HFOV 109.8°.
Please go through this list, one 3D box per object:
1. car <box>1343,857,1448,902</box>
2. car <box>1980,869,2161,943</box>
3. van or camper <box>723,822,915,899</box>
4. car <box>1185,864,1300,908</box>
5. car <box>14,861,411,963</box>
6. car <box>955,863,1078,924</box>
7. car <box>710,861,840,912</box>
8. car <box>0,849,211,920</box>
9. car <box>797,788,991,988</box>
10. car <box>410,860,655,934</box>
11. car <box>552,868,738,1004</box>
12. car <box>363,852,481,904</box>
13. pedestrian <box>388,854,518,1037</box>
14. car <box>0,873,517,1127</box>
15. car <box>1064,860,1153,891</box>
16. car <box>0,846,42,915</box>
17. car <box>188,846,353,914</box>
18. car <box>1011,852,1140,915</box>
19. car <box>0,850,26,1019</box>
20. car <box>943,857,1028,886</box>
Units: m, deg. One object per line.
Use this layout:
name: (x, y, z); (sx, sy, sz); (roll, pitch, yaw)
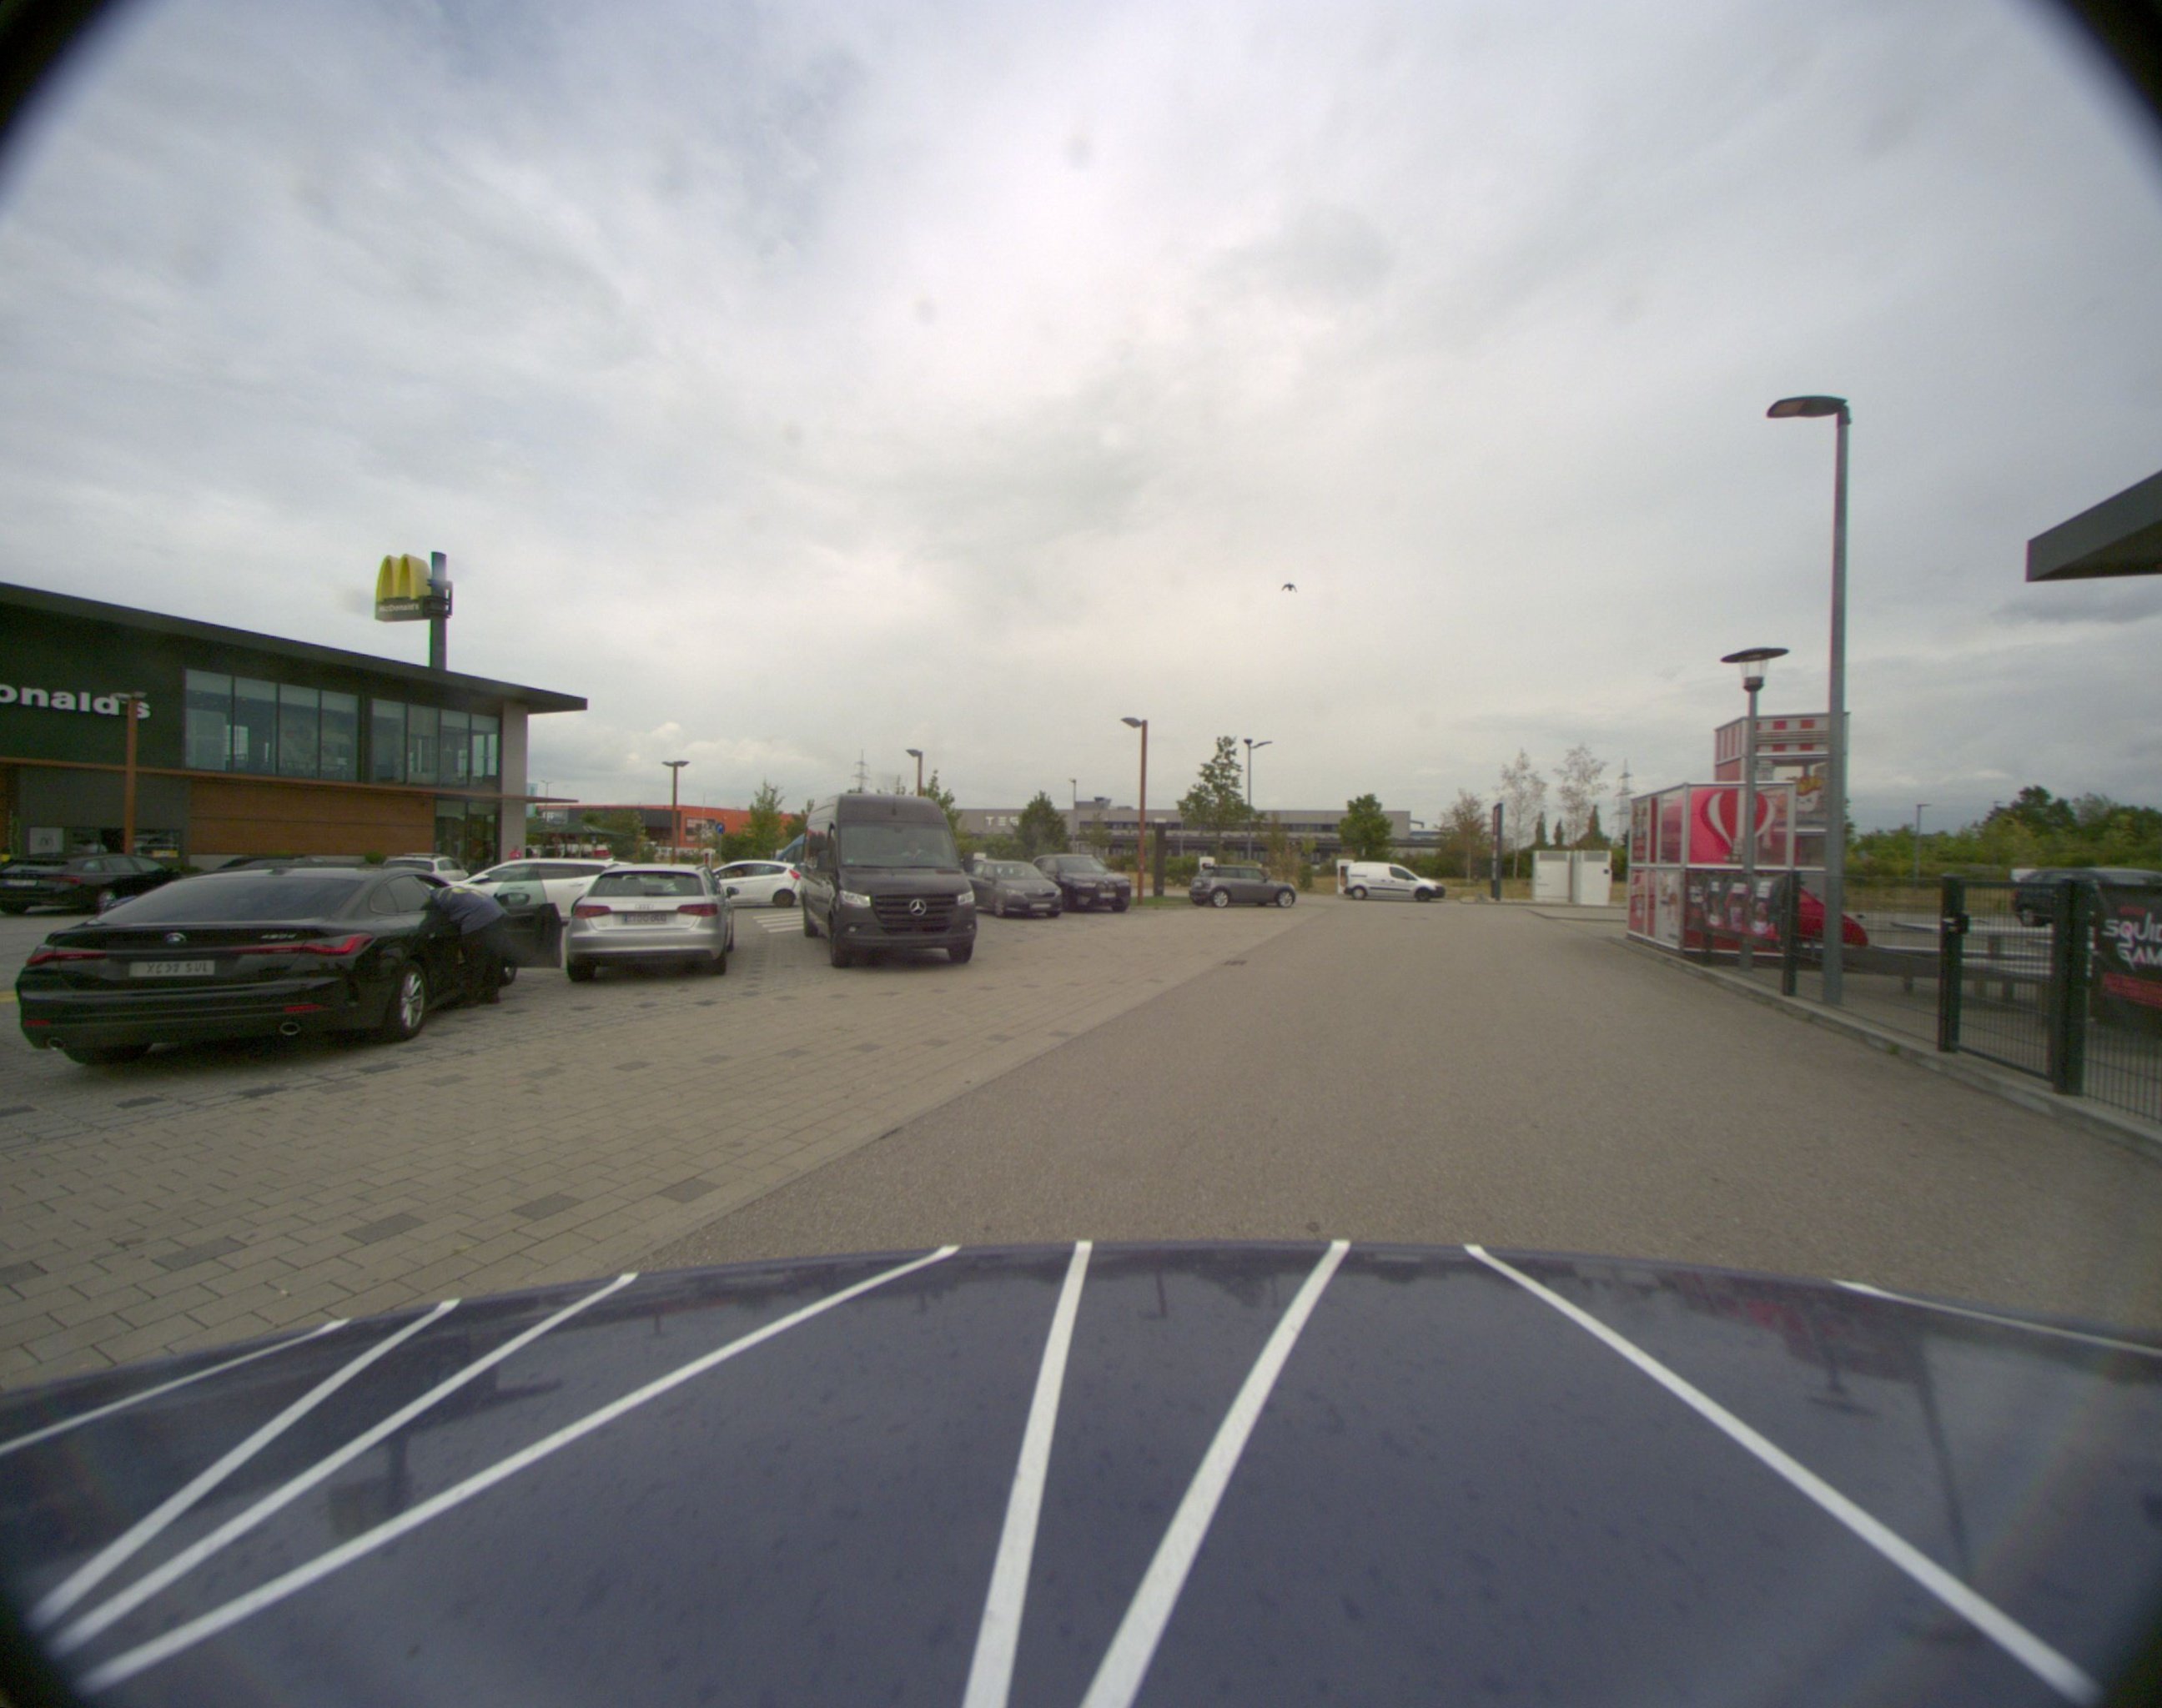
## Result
car: (14.527, 1.148, 35.256); (4.326, 1.877, 1.950); (2, -1, 23)
car: (25.186, 1.211, 19.021); (1.581, 1.607, 4.494); (1, 0, 23)
van or camper: (-9.690, 0.213, 28.555); (6.579, 2.685, 2.169); (0, 0, -18)
car: (5.565, 1.105, 26.258); (3.530, 1.368, 1.607); (2, -1, -17)
car: (-14.285, 0.945, 12.851); (4.005, 1.501, 1.766); (2, -1, -21)
car: (-1.855, 0.989, 20.617); (1.835, 1.403, 3.990); (0, 1, -29)
car: (-9.362, 0.948, 23.322); (3.578, 1.445, 1.839); (0, 0, -24)
car: (-24.872, 0.705, 19.348); (1.840, 1.565, 4.085); (1, 0, -21)
car: (-3.622, 0.418, 13.244); (2.076, 2.538, 6.998); (0, 0, -24)
car: (-11.817, 0.899, 16.759); (4.117, 1.458, 1.777); (1, -2, -26)
car: (-5.815, 0.953, 10.599); (1.689, 1.443, 3.993); (0, 0, -22)
car: (-22.313, 0.772, 25.901); (1.793, 1.478, 3.991); (3, 1, -22)
pedestrian: (-6.177, 0.855, 7.524); (0.750, 1.667, 0.841); (-1, -1, -22)
car: (-6.781, 0.946, 6.928); (1.689, 1.454, 4.398); (0, 0, -24)
car: (1.465, 1.124, 41.222); (4.444, 1.450, 1.837); (1, 1, 25)
car: (-29.597, 0.633, 19.946); (3.990, 1.743, 1.756); (2, -1, 22)
car: (-23.644, 0.696, 22.406); (1.901, 1.652, 4.248); (2, 1, -26)
car: (-0.328, 0.834, 23.389); (2.003, 1.717, 4.886); (2, -1, -26)
car: (-12.388, 0.728, 6.125); (1.806, 1.679, 4.199); (2, -1, 23)
car: (-5.542, 0.980, 44.260); (4.467, 1.544, 2.076); (1, 0, 22)
